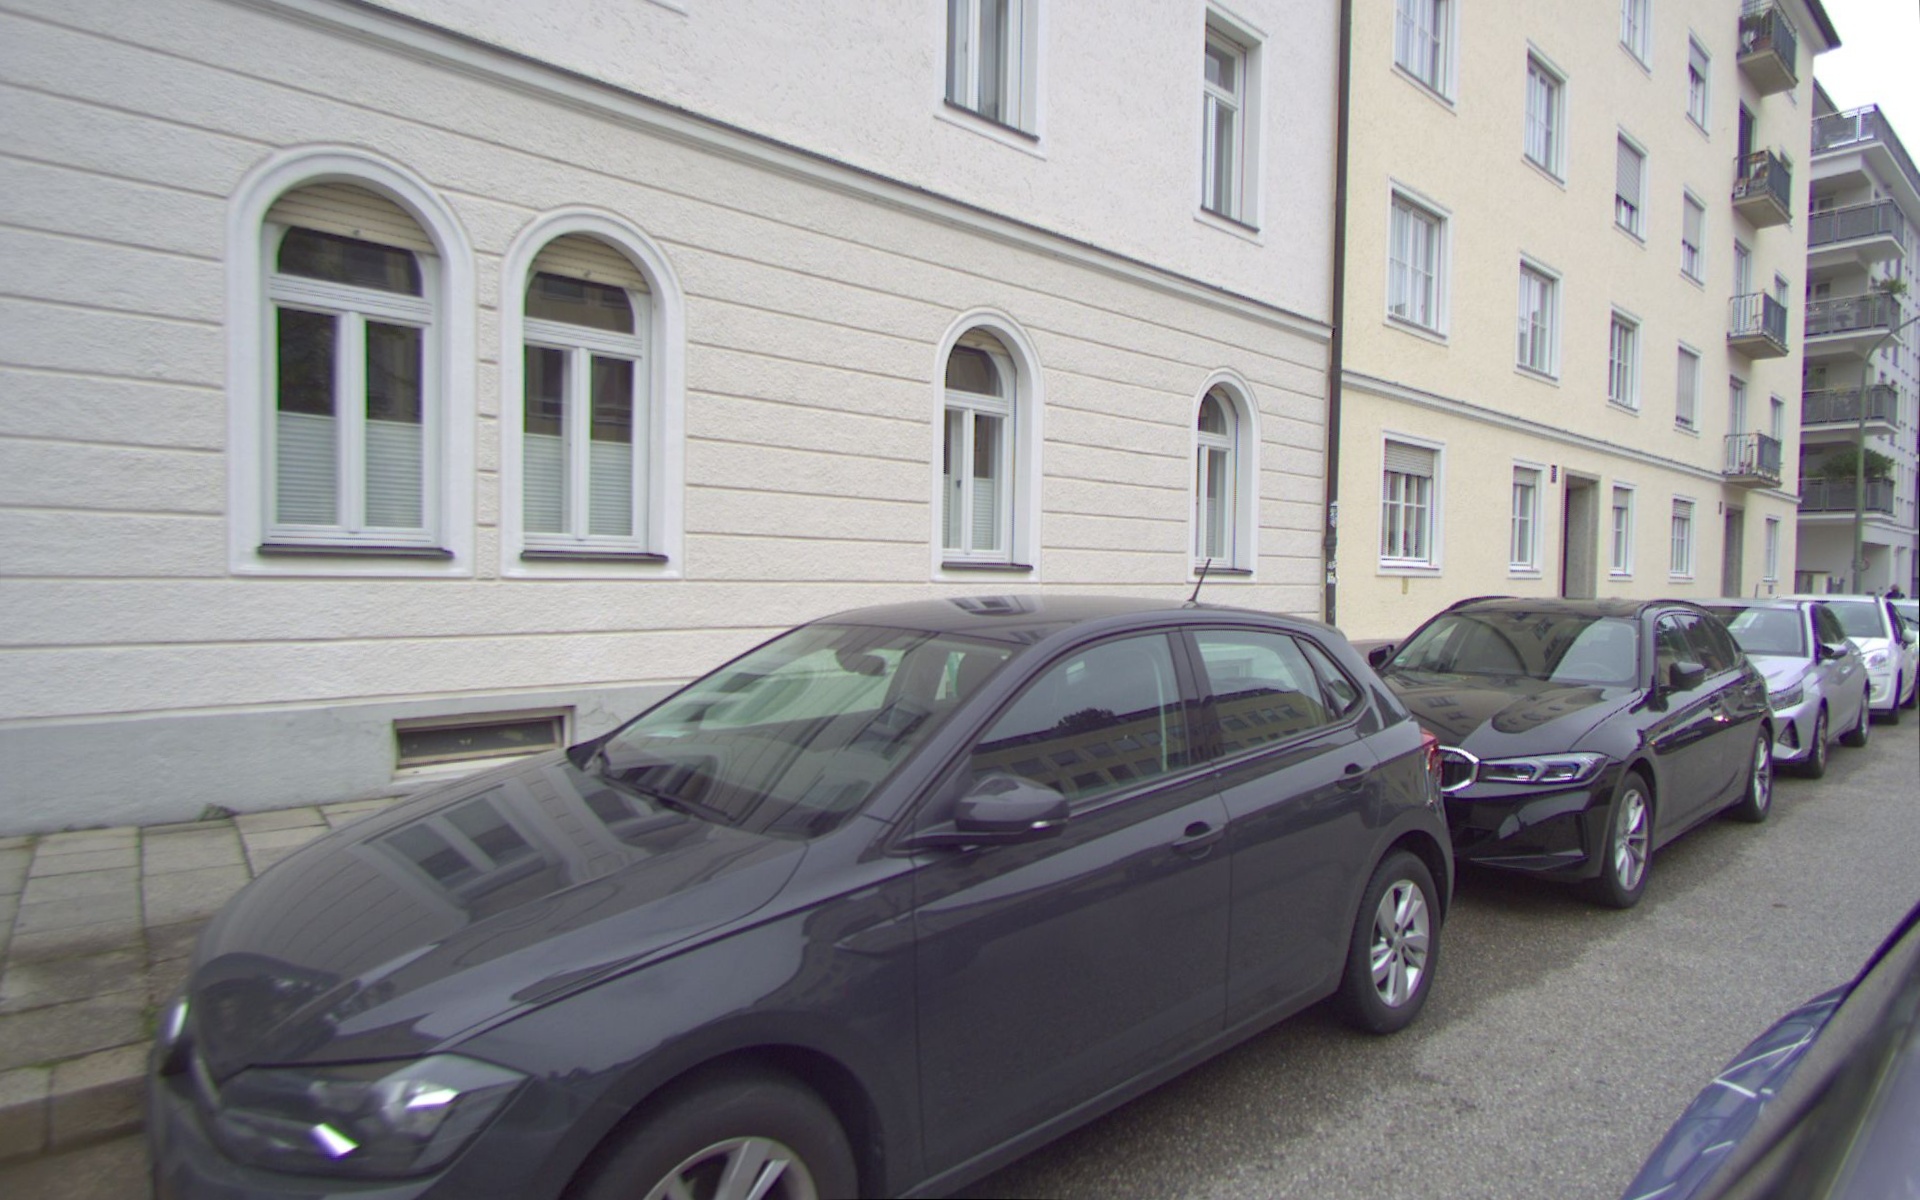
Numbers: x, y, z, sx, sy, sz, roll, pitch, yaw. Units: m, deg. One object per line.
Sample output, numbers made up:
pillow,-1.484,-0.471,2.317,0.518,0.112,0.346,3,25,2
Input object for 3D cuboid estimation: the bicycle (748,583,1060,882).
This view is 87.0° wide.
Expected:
bicycle,-0.225,0.534,4.788,1.447,1.192,0.481,-1,5,-40

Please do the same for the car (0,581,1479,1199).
car,-0.203,0.696,2.999,3.985,1.460,1.706,-1,1,-40

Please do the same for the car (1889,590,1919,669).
car,19.138,0.520,19.271,3.953,1.392,1.741,-1,1,-42

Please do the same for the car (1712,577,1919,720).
car,11.514,0.503,13.262,4.194,1.566,1.839,-1,1,-42

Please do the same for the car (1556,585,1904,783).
car,7.600,0.605,9.802,4.574,1.452,1.839,-1,1,-42

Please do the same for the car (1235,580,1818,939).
car,3.742,0.616,6.271,4.451,1.432,1.800,-1,1,-42

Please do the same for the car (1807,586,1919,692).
car,14.912,0.530,15.938,3.953,1.477,1.839,-1,1,-41
